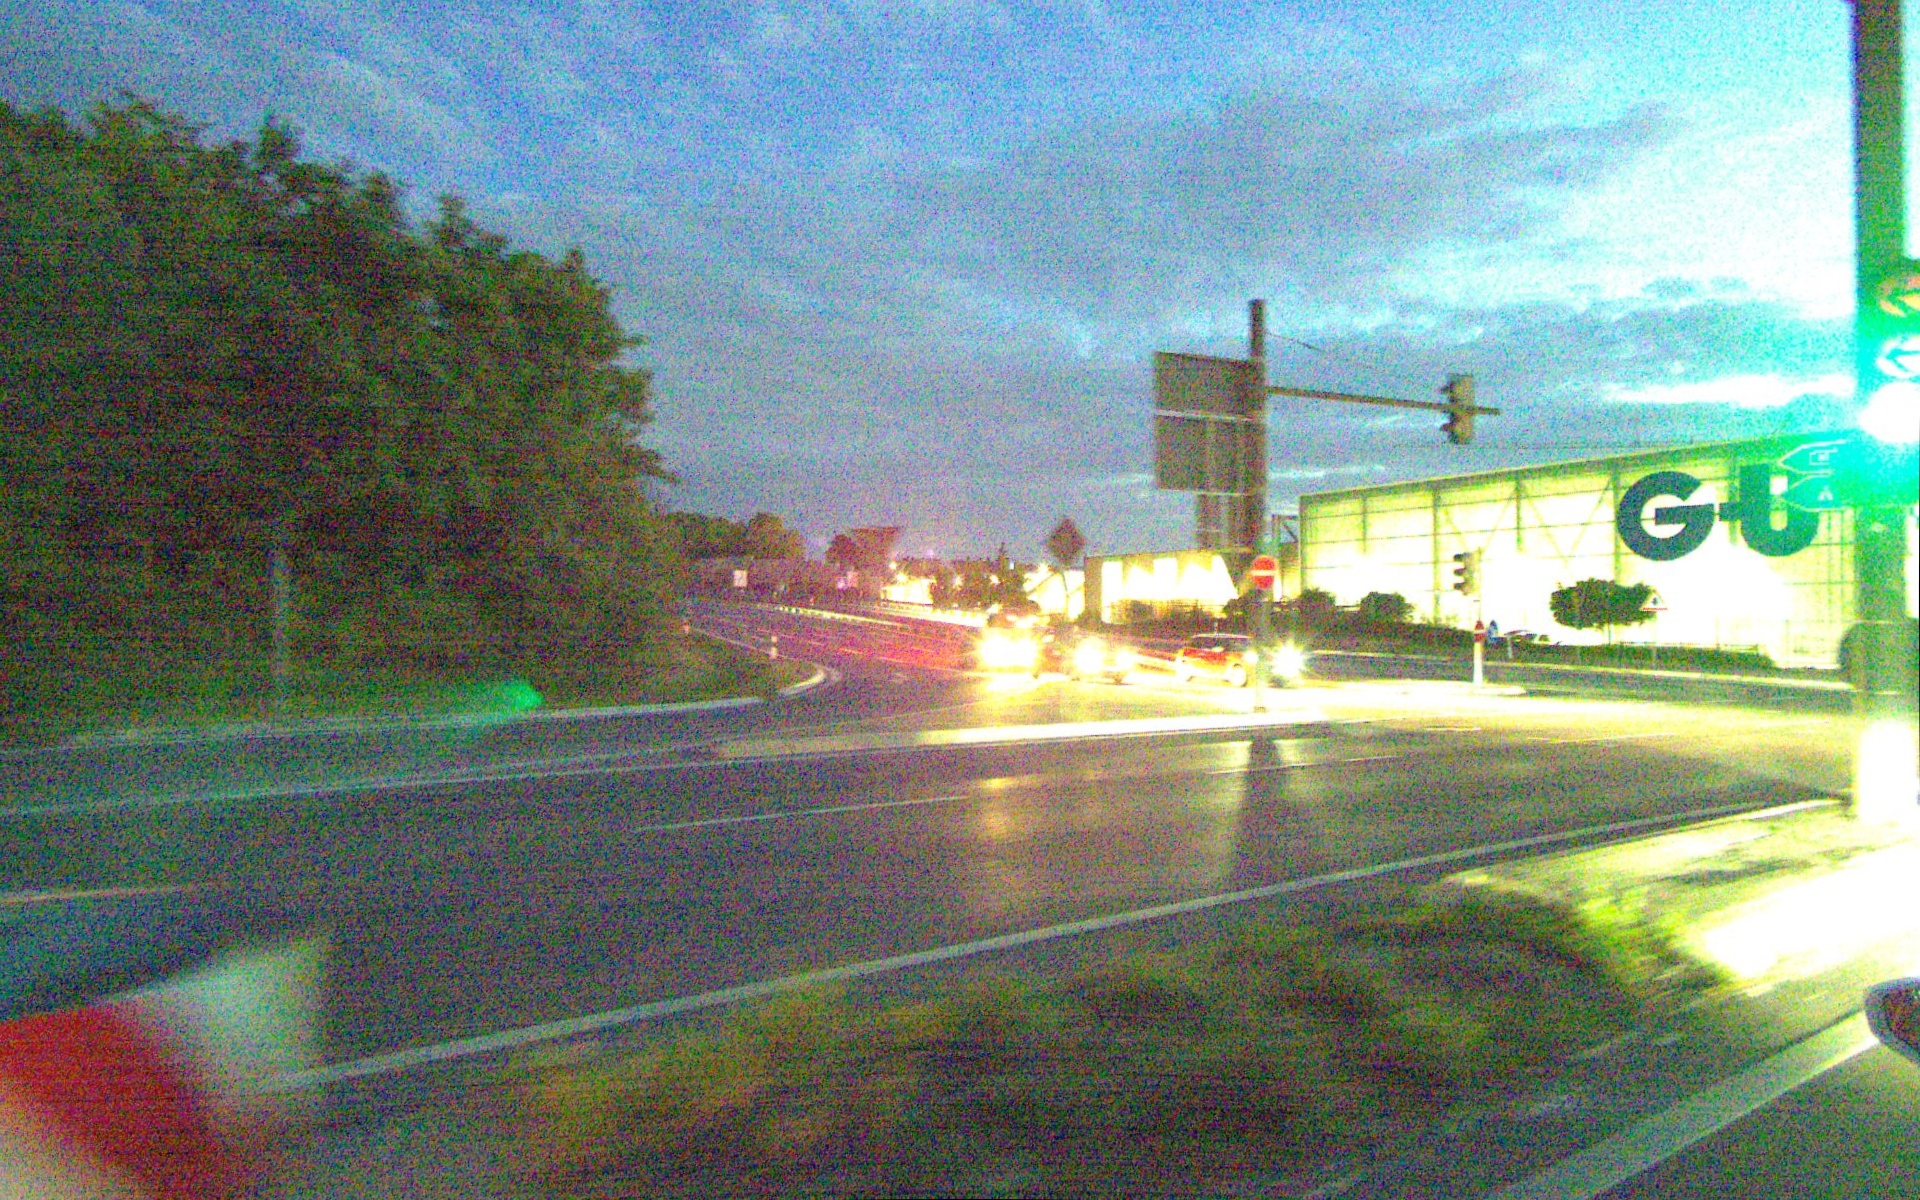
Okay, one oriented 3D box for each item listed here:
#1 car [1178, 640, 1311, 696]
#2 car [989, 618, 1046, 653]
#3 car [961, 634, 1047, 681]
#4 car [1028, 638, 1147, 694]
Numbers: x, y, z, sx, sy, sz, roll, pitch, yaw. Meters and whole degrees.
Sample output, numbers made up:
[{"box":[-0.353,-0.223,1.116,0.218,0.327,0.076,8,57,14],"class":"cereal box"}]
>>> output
[{"box":[8.237,1.941,29.379,1.681,1.494,3.848,2,-3,-24],"class":"car"},{"box":[3.644,2.227,64.150,1.973,2.040,3.975,2,0,-25],"class":"car"},{"box":[1.504,2.019,36.068,1.664,1.479,3.792,0,0,-22],"class":"car"},{"box":[3.664,1.898,29.644,1.735,1.479,3.979,2,-2,-23],"class":"car"}]
